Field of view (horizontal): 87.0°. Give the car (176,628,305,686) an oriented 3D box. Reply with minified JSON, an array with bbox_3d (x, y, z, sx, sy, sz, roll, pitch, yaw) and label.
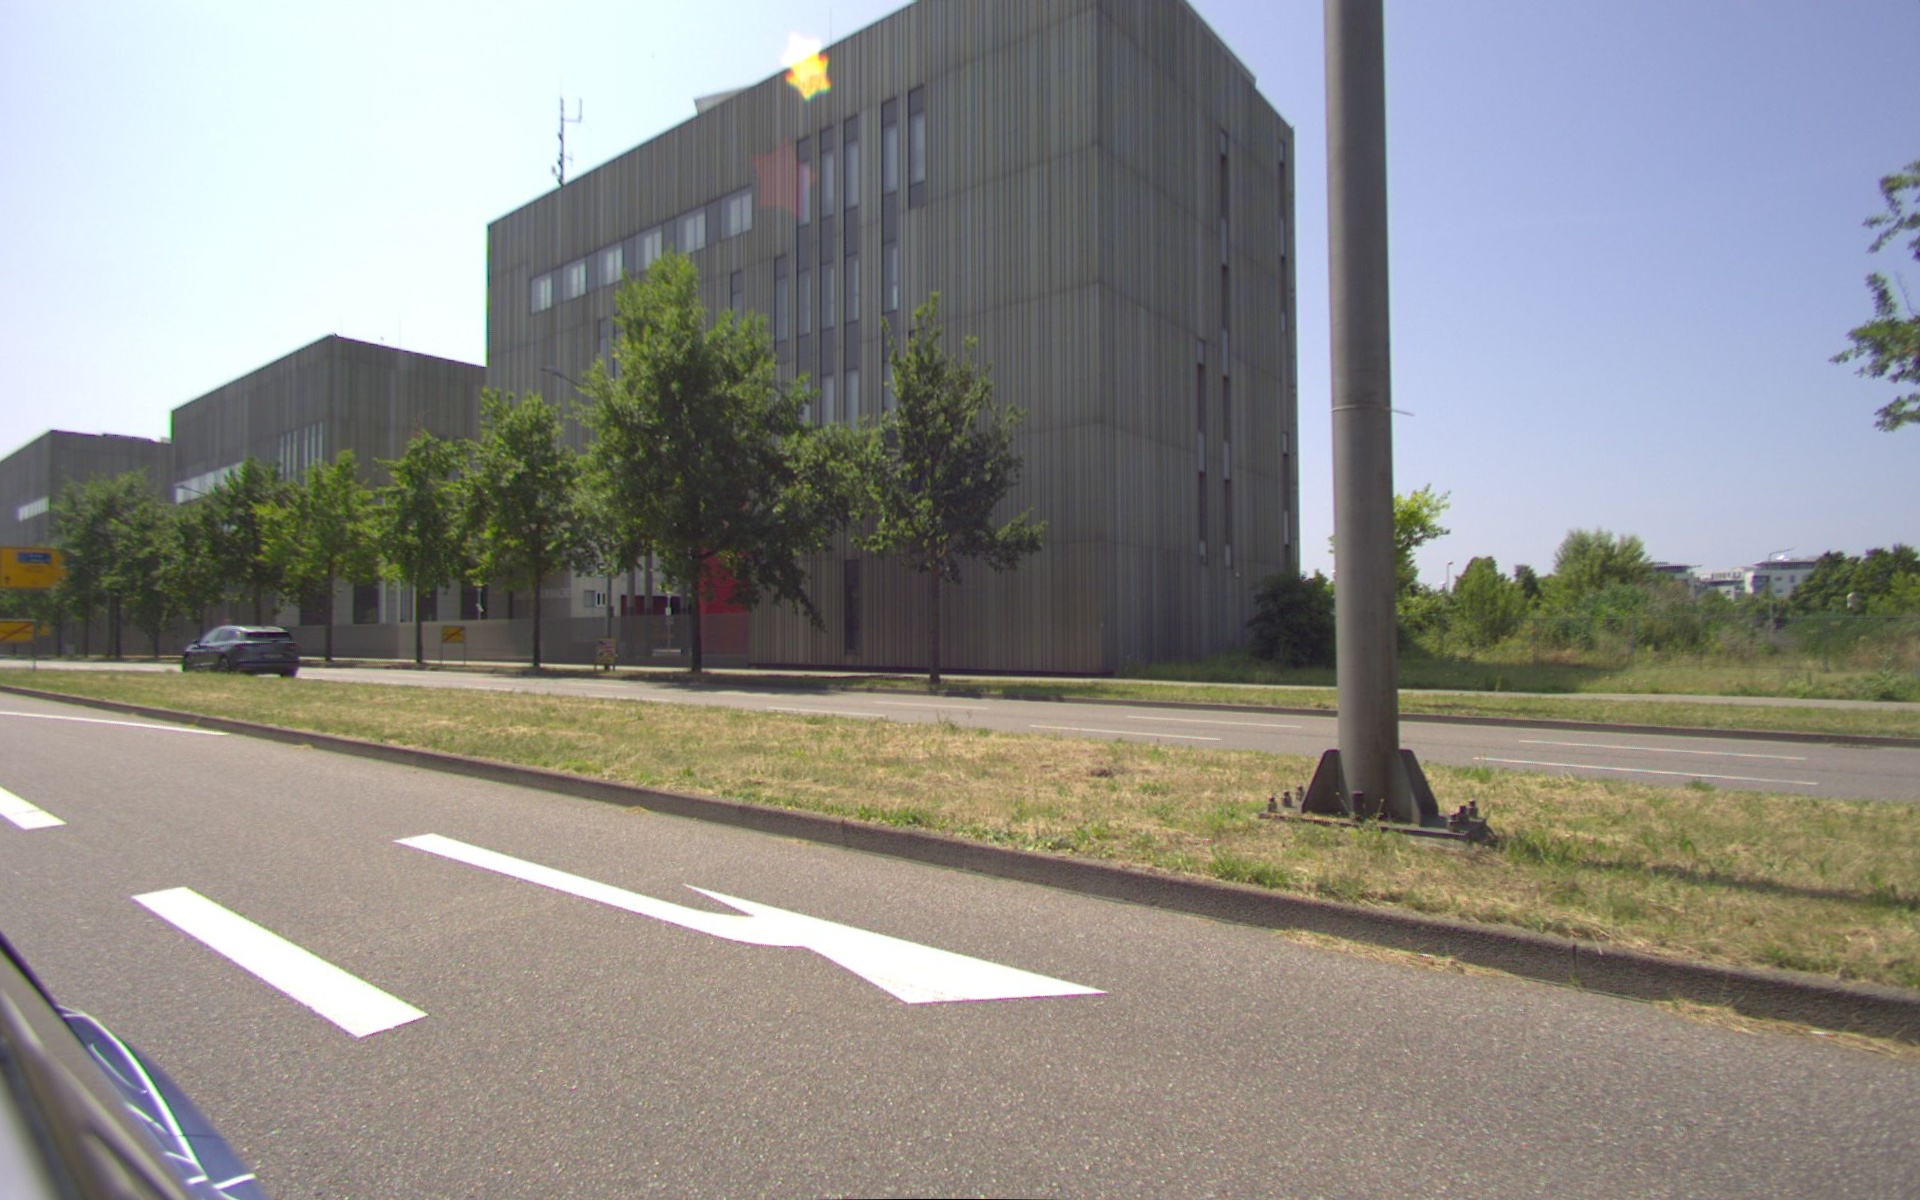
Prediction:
[{"bbox_3d":[-21.795,1.685,30.592,4.526,1.623,1.875,-2,-2,37],"label":"car"}]
